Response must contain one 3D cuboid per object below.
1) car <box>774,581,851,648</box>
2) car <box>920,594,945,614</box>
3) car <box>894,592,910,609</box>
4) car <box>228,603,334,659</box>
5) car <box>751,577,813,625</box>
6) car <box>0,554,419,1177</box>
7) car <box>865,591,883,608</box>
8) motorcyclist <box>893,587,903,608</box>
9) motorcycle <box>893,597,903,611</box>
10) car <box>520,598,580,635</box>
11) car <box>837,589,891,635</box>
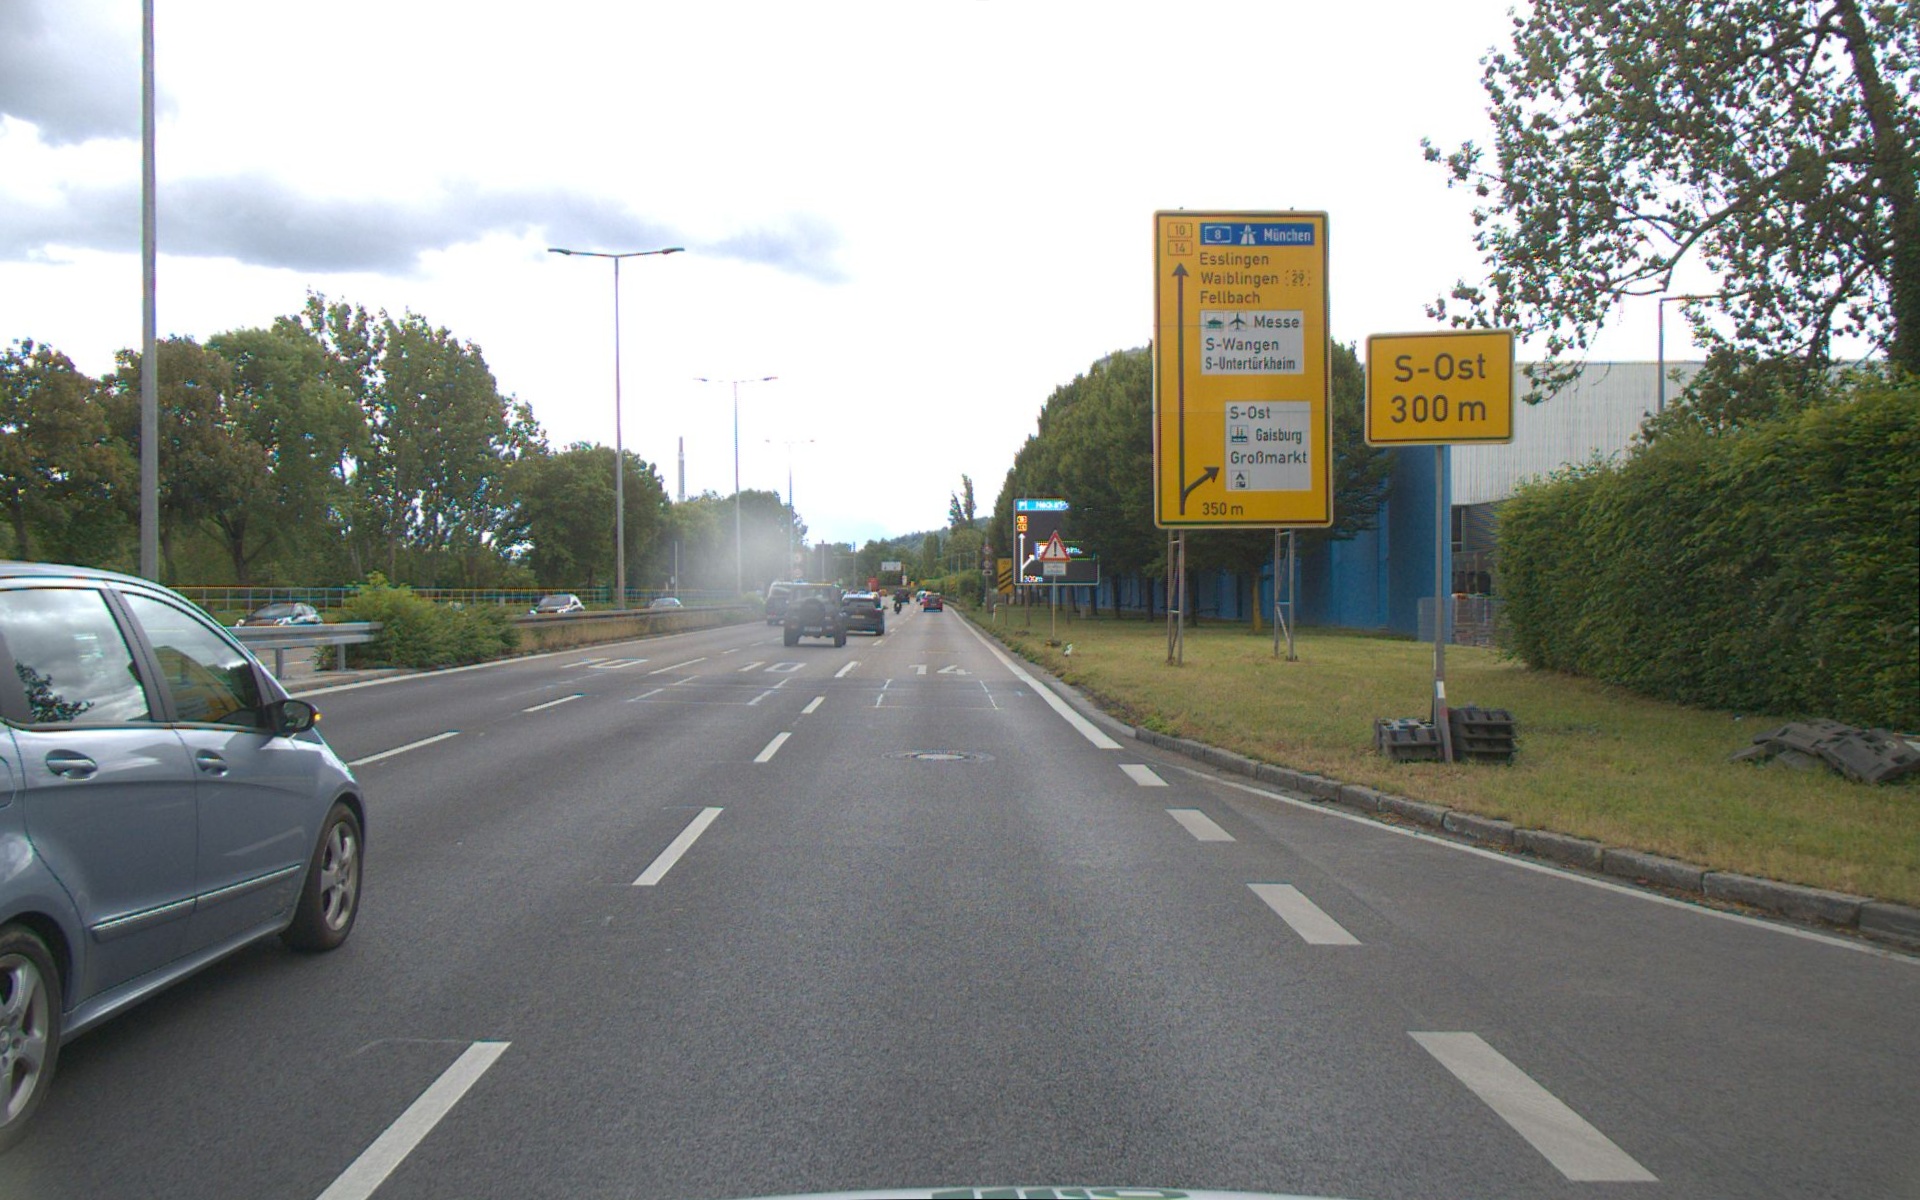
[{"bbox_3d":[-4.087,0.378,46.279,1.869,1.713,3.999,2,1,-2],"label":"car"},{"bbox_3d":[-2.341,0.340,141.276,1.954,1.579,3.998,2,1,-3],"label":"car"},{"bbox_3d":[-7.384,0.030,210.104,1.953,2.048,3.999,2,1,-1],"label":"car"},{"bbox_3d":[-22.786,1.007,55.647,1.953,1.668,3.999,2,1,-1],"label":"car"},{"bbox_3d":[-7.884,0.002,73.712,2.169,1.959,5.002,2,1,0],"label":"car"},{"bbox_3d":[-3.288,0.631,5.592,1.676,1.556,3.999,2,1,-2],"label":"car"},{"bbox_3d":[-10.501,-0.077,202.188,1.953,2.048,3.999,2,1,-1],"label":"car"},{"bbox_3d":[-4.849,-0.181,129.450,0.671,1.638,0.845,2,1,0],"label":"motorcyclist"},{"bbox_3d":[-4.852,0.330,129.351,0.692,1.058,2.027,2,1,0],"label":"motorcycle"},{"bbox_3d":[-19.936,0.789,80.547,1.953,1.668,3.999,2,1,-1],"label":"car"},{"bbox_3d":[-3.441,0.408,59.814,1.803,1.489,3.999,2,1,-2],"label":"car"}]
